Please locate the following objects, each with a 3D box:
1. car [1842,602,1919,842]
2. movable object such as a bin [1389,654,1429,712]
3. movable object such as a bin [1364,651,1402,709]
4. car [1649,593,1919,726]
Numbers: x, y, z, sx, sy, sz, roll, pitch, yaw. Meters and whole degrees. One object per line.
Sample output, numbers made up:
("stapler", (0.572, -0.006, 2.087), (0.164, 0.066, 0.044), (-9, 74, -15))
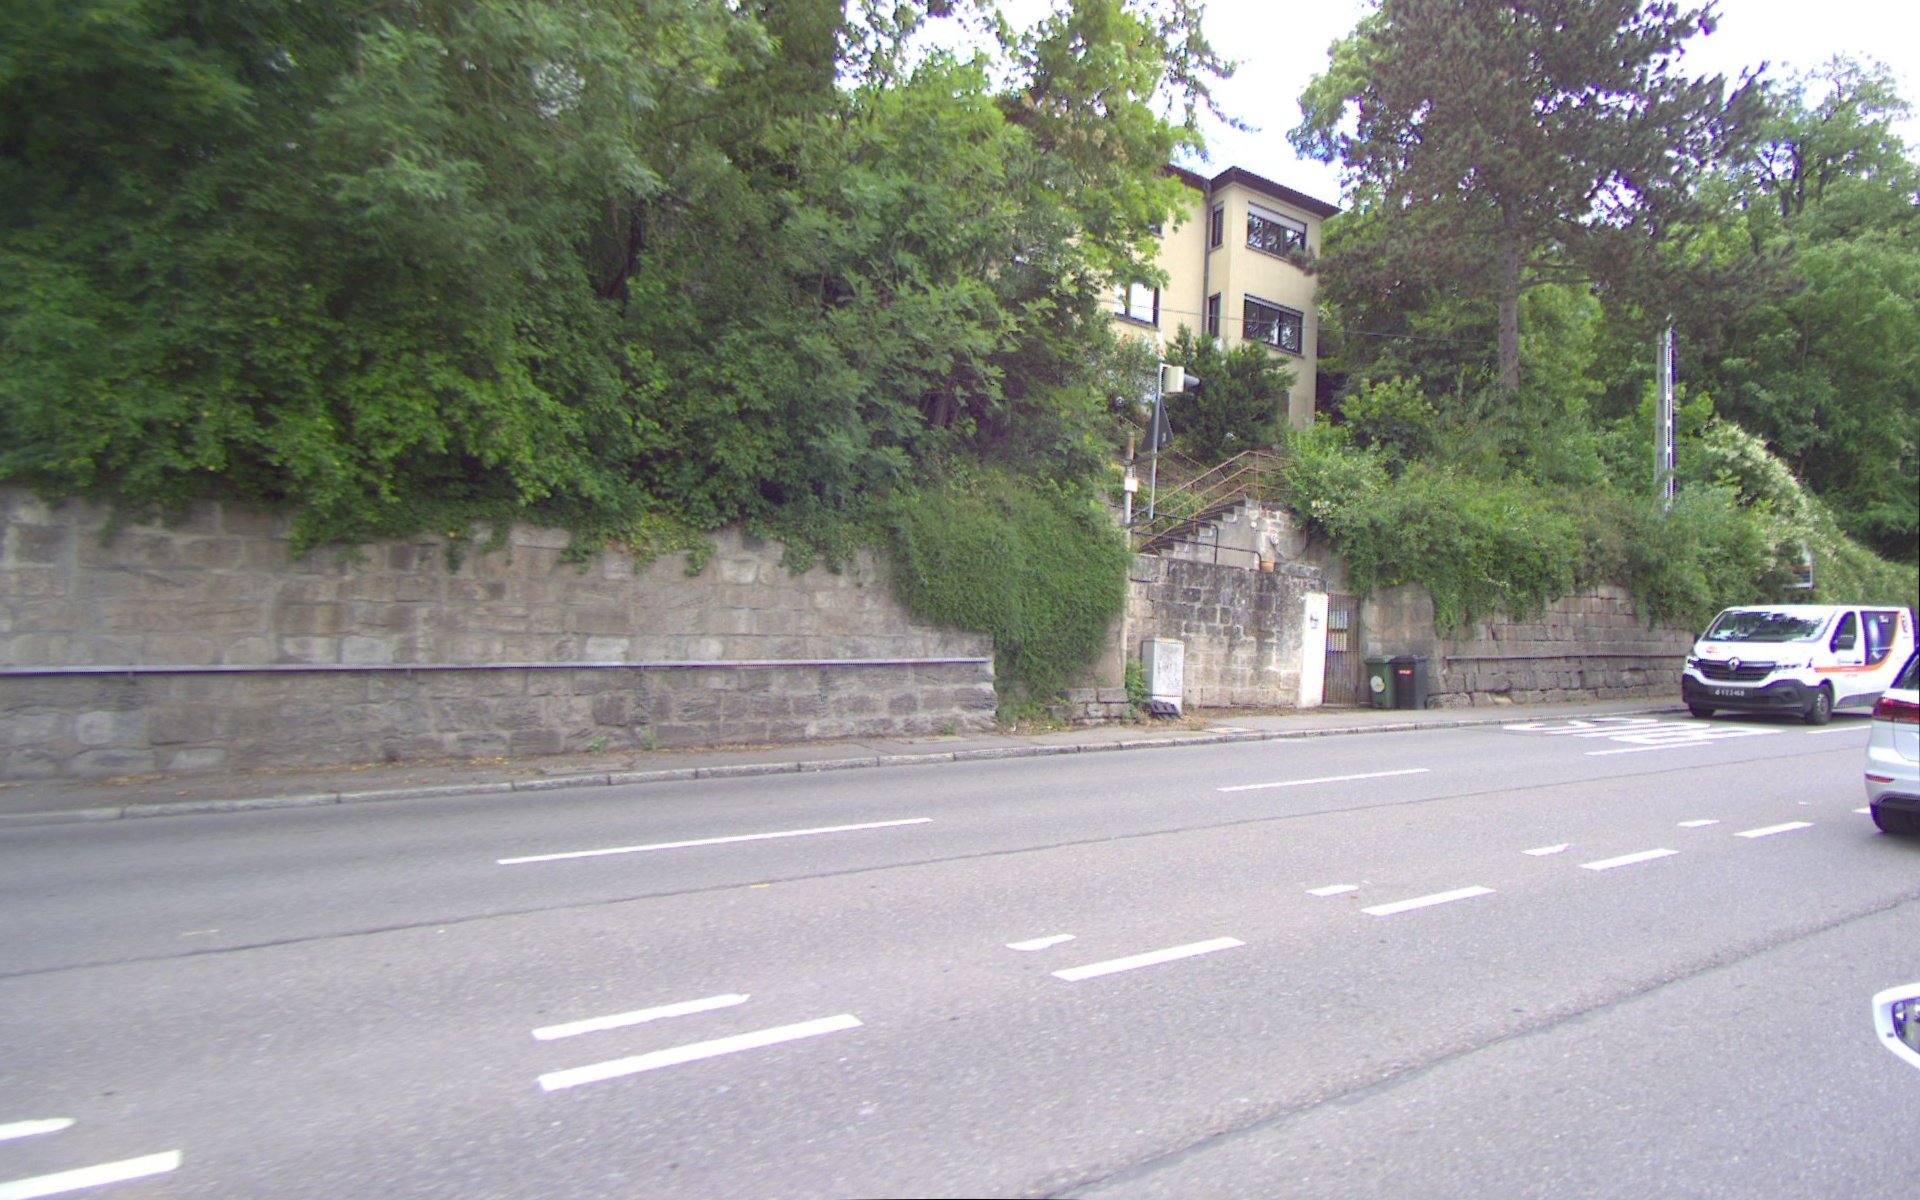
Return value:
("car", (8.340, 0.848, 7.301), (4.226, 1.575, 1.712), (2, -1, -31))
("movable object such as a bin", (7.700, 1.414, 17.231), (0.362, 0.948, 0.476), (2, 0, -34))
("movable object such as a bin", (7.432, 1.397, 17.658), (0.364, 0.984, 0.474), (2, 0, -34))
("car", (14.408, 0.986, 17.487), (5.292, 2.031, 1.913), (2, -2, -30))
